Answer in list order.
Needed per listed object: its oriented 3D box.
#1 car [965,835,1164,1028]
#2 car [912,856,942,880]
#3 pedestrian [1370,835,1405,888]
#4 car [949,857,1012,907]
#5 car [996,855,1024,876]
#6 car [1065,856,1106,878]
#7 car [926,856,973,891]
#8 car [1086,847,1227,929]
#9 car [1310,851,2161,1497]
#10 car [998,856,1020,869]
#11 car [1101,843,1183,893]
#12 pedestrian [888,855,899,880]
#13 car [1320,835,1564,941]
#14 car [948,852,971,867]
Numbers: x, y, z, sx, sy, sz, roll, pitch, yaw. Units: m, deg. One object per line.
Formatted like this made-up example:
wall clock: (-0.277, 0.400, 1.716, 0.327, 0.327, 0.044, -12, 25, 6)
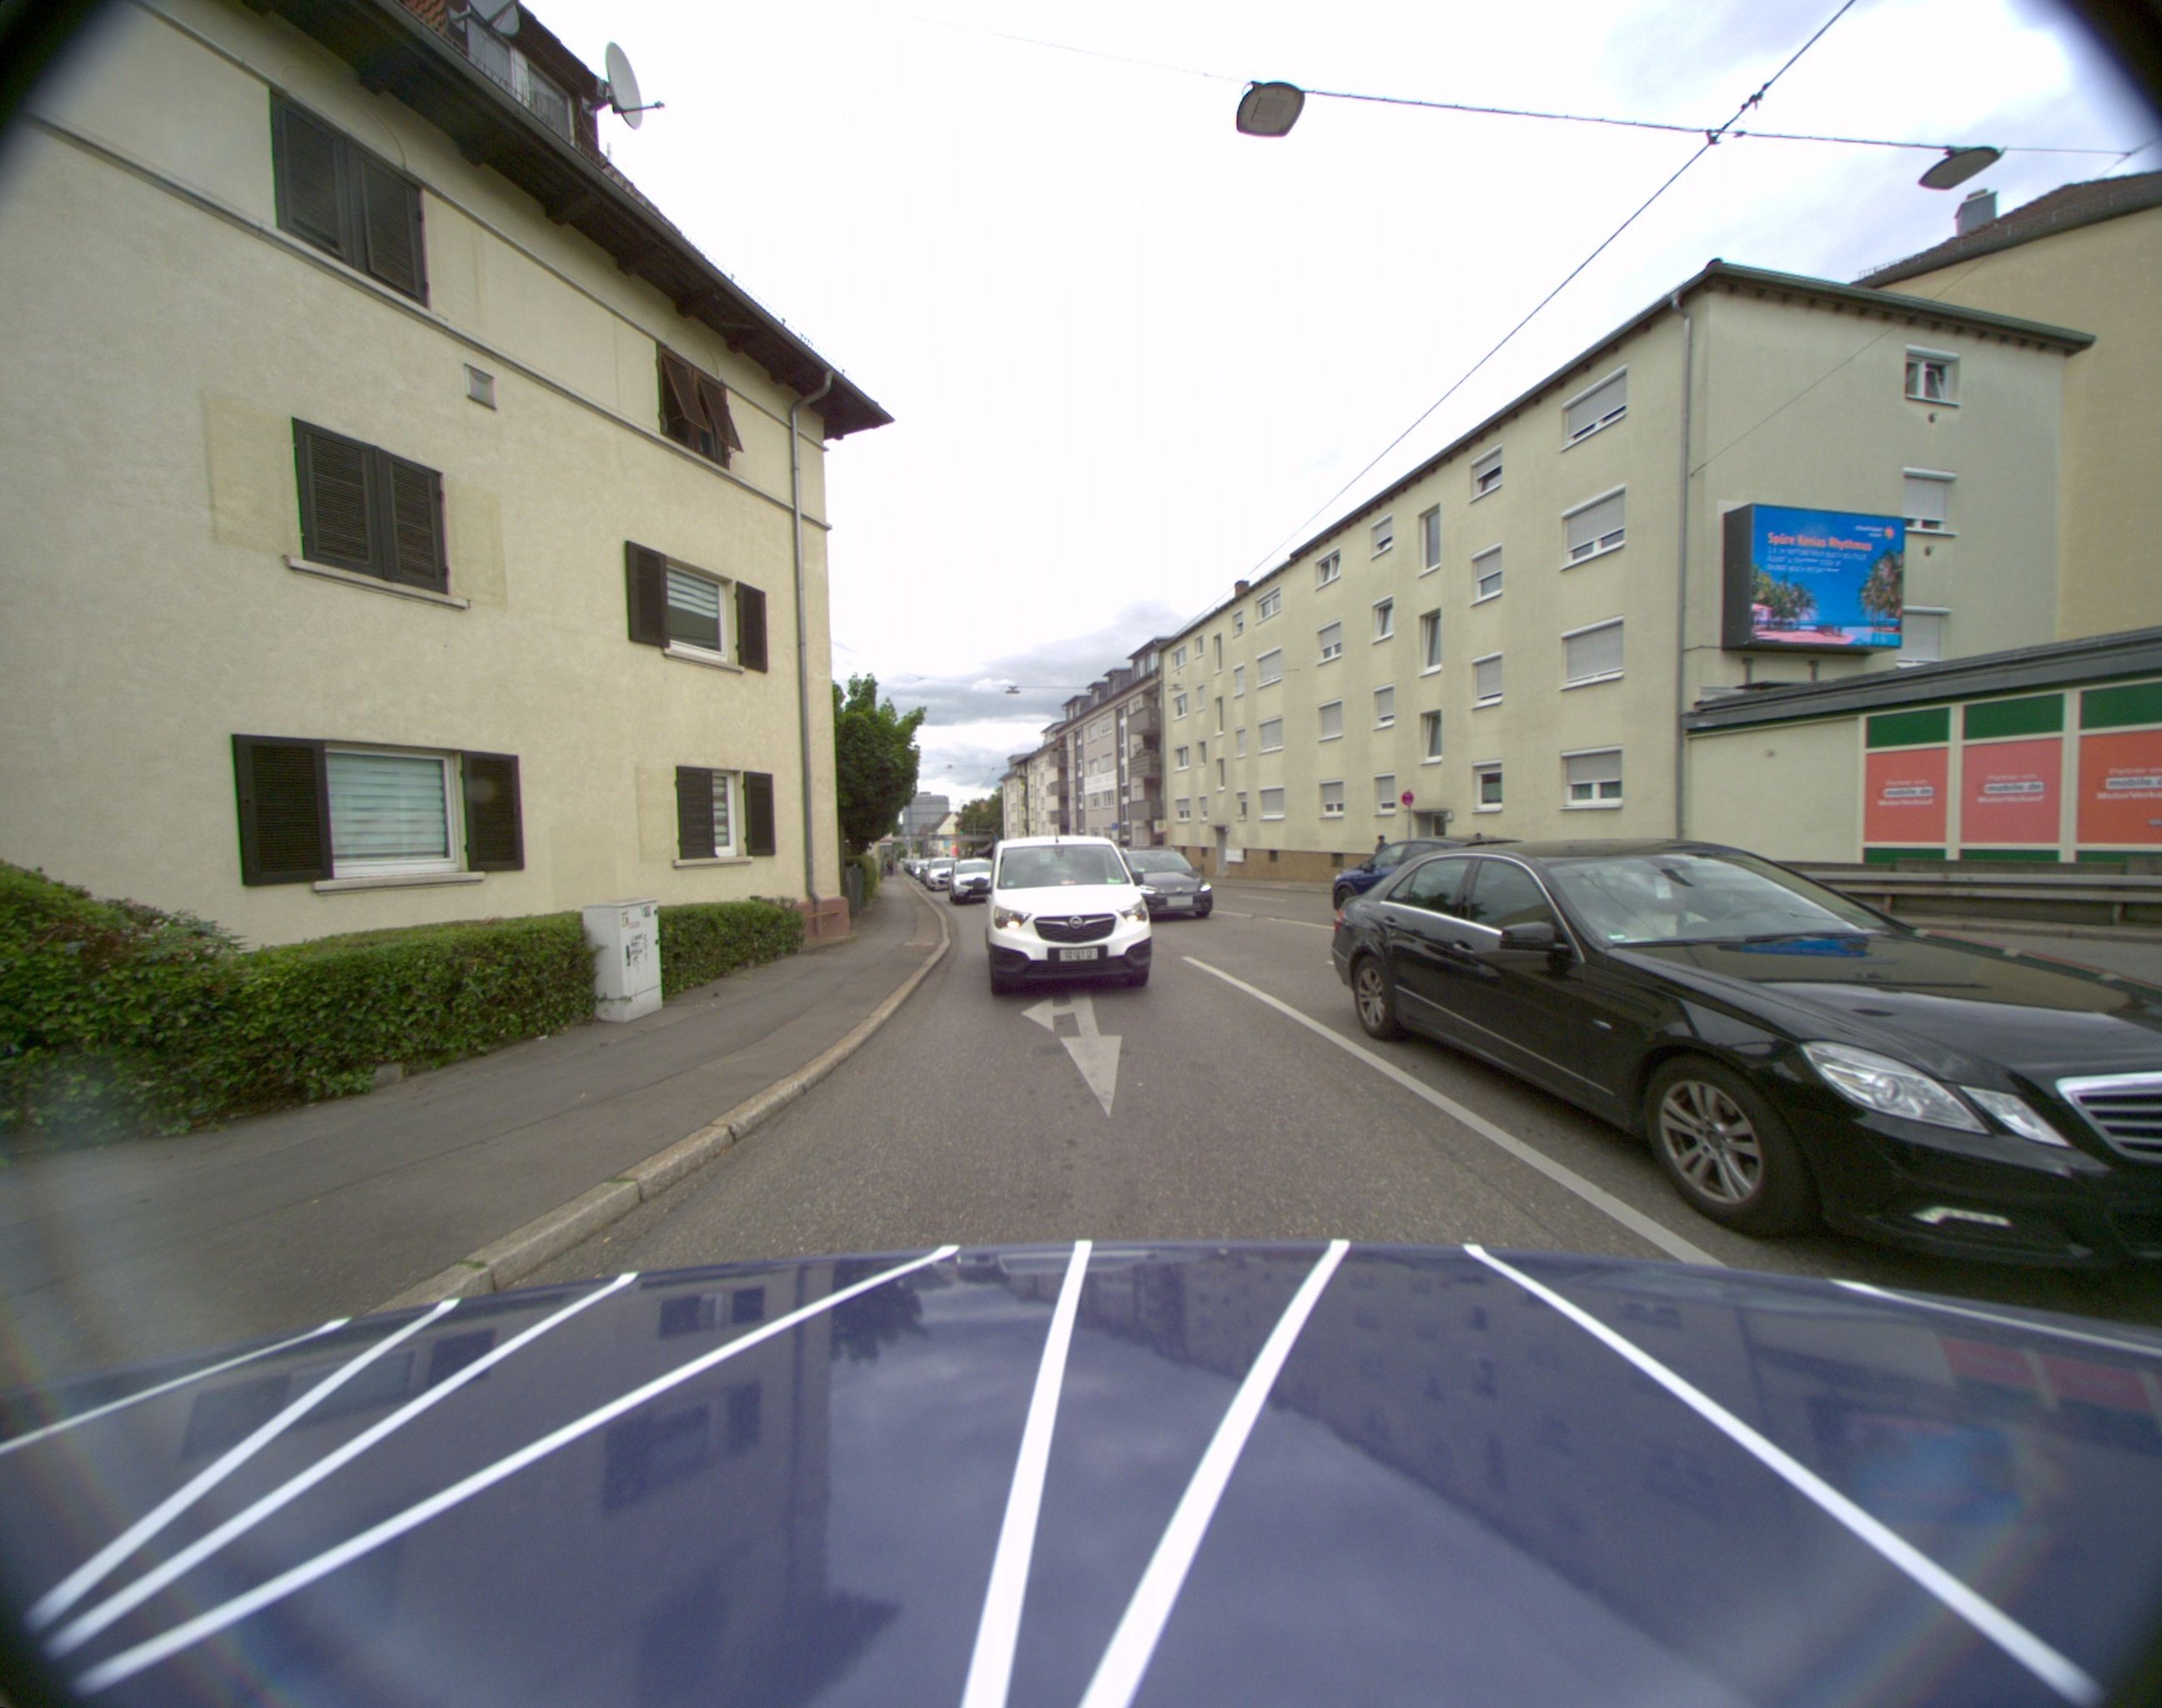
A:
car: (-0.361, 0.720, 9.800, 1.863, 1.772, 4.708, -3, 1, -5)
car: (-11.004, 0.947, 54.135, 1.901, 1.572, 3.995, -1, 1, -14)
pedestrian: (9.805, 0.239, 24.332, 0.690, 1.627, 0.778, -2, 1, -15)
car: (-3.696, 0.933, 27.330, 1.901, 1.501, 4.162, -4, 1, -11)
car: (-5.159, 0.820, 54.798, 1.603, 1.439, 3.526, -1, 1, -12)
car: (0.256, 0.861, 52.107, 1.777, 1.403, 3.681, -1, 0, -17)
car: (-6.886, 0.978, 39.580, 1.902, 1.635, 3.994, -2, 0, -17)
car: (1.618, 0.690, 18.107, 1.864, 1.601, 4.473, -3, 1, -14)
car: (3.195, 0.738, 4.258, 1.999, 1.420, 4.839, -2, 1, -5)
car: (-8.342, 0.988, 88.094, 1.777, 1.395, 3.754, -3, 1, -17)
car: (2.267, 0.501, 29.638, 1.911, 1.704, 4.714, -2, 0, -11)
pedestrian: (-14.440, 1.031, 58.513, 0.648, 1.830, 0.591, -3, 1, -33)
car: (6.093, 0.510, 13.423, 1.793, 1.522, 4.031, -2, 0, -12)
car: (-12.916, 0.567, 80.458, 1.884, 1.347, 4.140, -3, 1, -15)
